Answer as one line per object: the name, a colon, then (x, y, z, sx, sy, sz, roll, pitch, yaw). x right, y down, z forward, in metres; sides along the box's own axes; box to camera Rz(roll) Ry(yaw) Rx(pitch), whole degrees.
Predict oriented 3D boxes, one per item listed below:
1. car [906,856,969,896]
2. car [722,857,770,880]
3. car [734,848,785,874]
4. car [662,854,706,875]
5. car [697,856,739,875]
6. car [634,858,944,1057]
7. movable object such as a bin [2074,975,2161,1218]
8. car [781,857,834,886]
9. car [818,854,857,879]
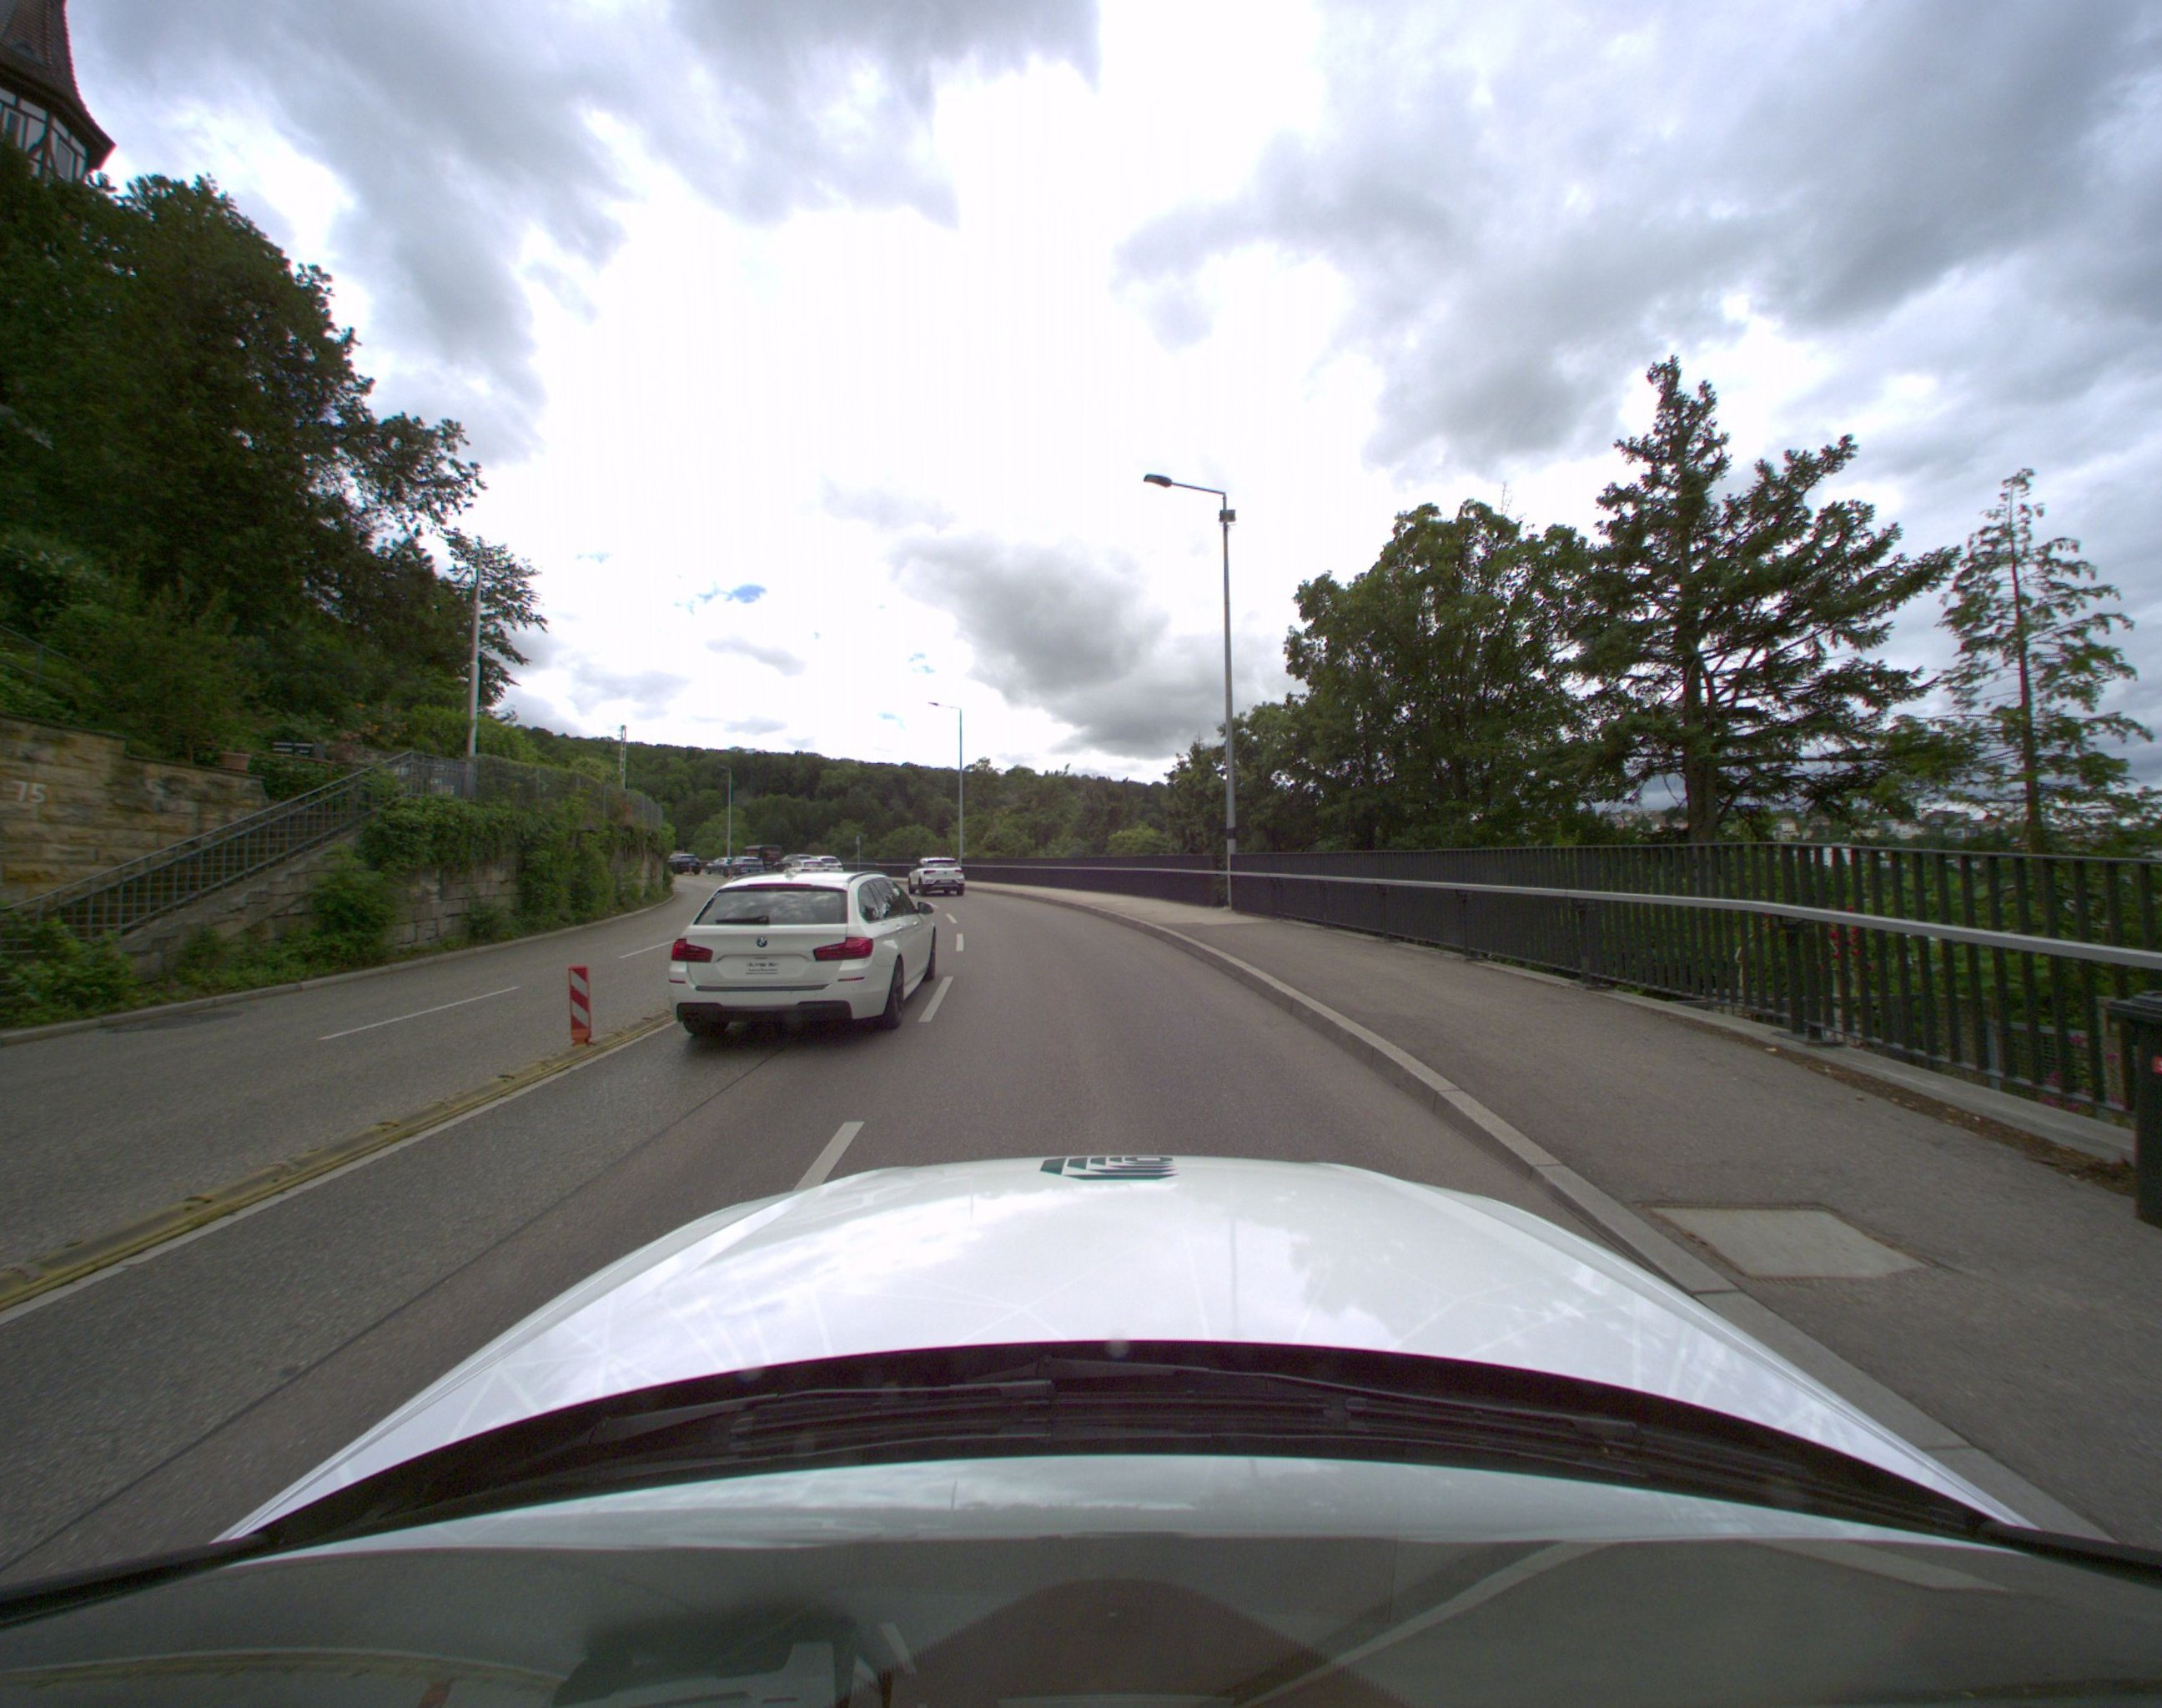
car: (-6.095, 0.885, 34.191, 1.874, 1.536, 3.775, -1, -1, -22)
car: (-23.841, 0.977, 57.912, 2.010, 1.541, 3.963, 0, 0, -41)
car: (-27.823, 0.550, 70.442, 4.672, 2.193, 2.095, 0, 0, 39)
car: (-32.547, 0.815, 66.734, 3.949, 1.689, 1.833, 0, 0, 40)
car: (-30.228, 0.961, 67.857, 3.490, 1.525, 1.710, 0, 0, 37)
car: (-2.658, 0.802, 8.748, 1.844, 1.467, 4.872, -1, 0, -4)
movable object such as a bin: (4.379, 0.946, 3.119, 0.518, 0.881, 0.532, 0, 0, -1)
car: (-15.973, 0.967, 47.483, 1.921, 1.574, 3.957, 0, 0, -35)
car: (-16.264, 0.787, 54.488, 1.993, 1.586, 3.987, 0, 0, -9)
